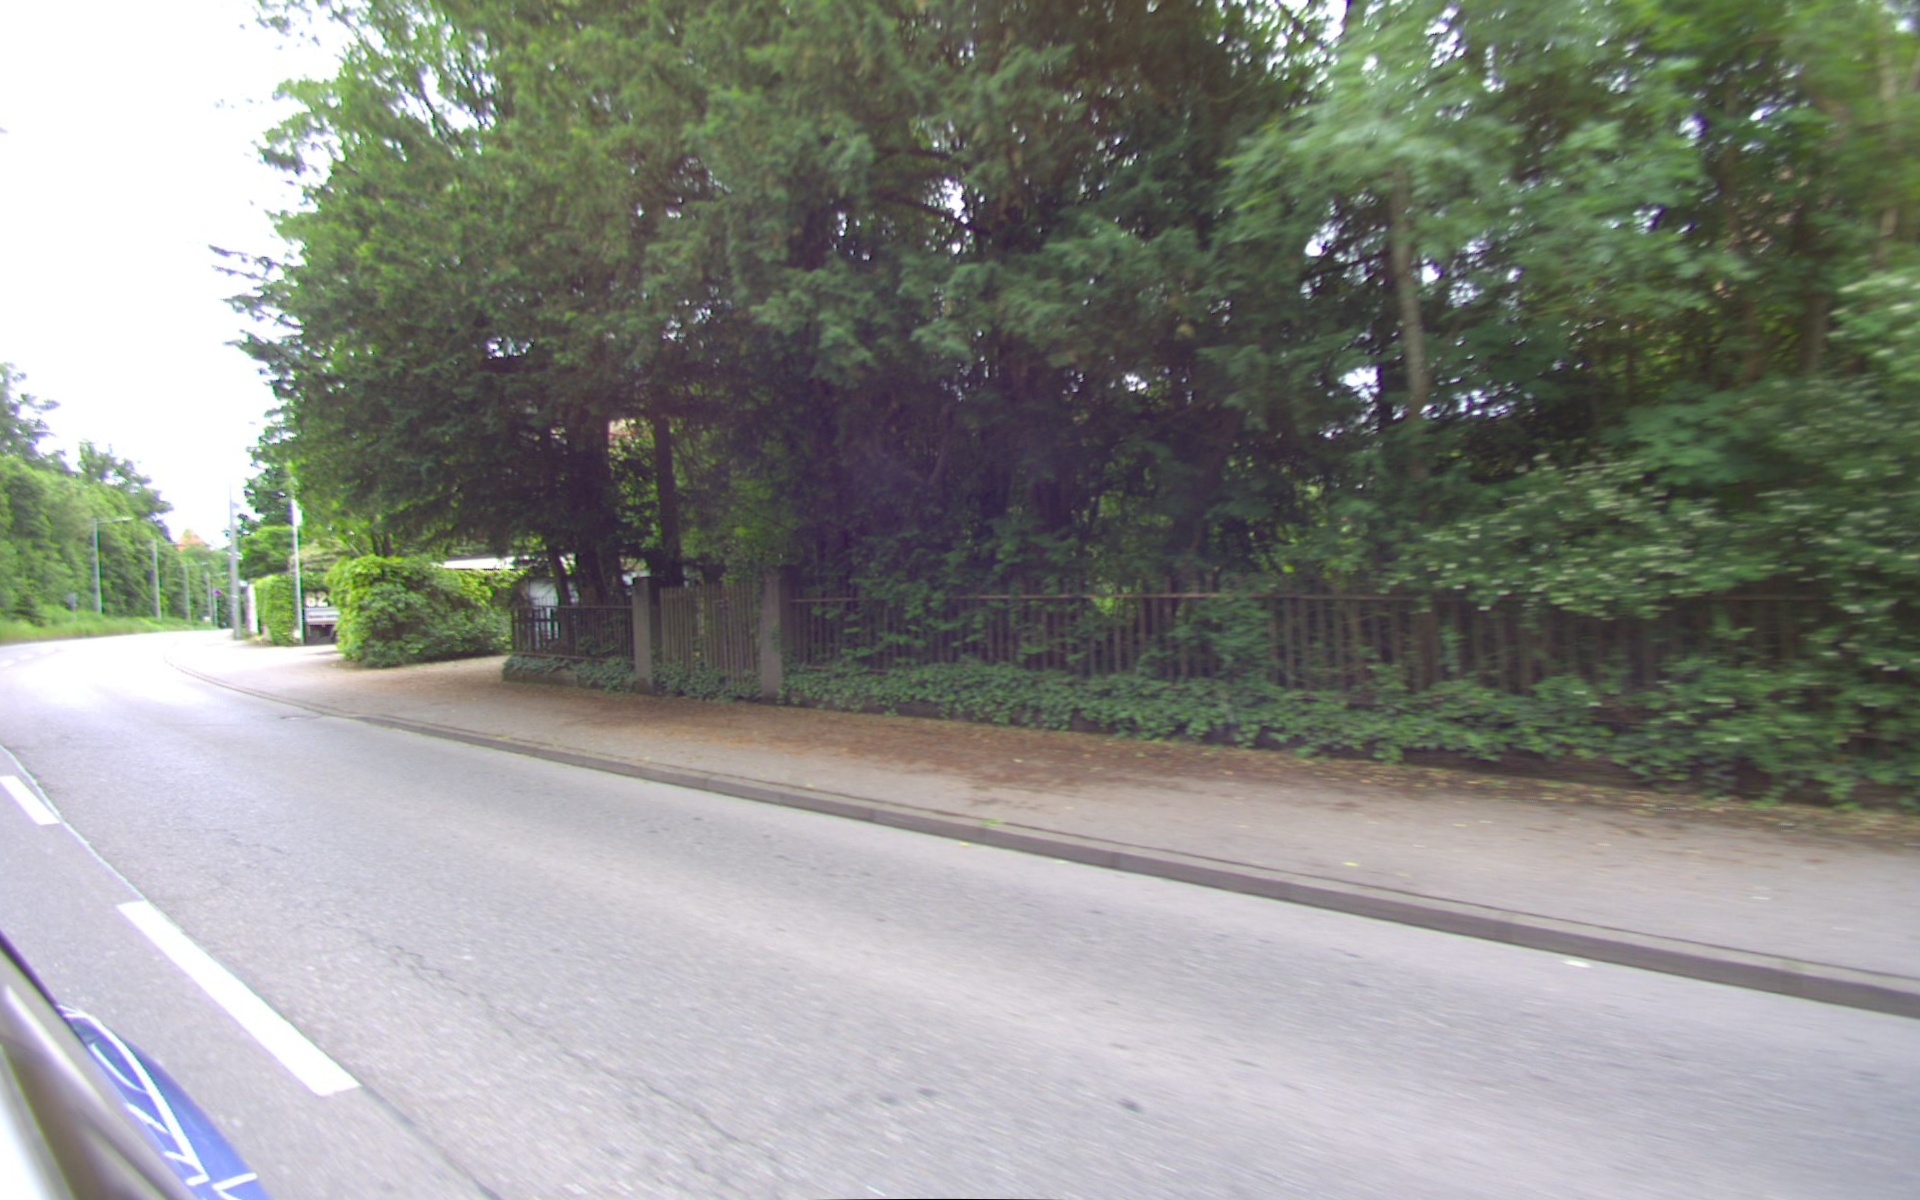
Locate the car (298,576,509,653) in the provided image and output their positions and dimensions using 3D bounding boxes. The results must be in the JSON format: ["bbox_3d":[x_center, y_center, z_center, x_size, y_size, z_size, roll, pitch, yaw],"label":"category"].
[{"bbox_3d":[-16.624,0.416,30.337,5.310,2.088,2.415,-2,1,14],"label":"car"}]
